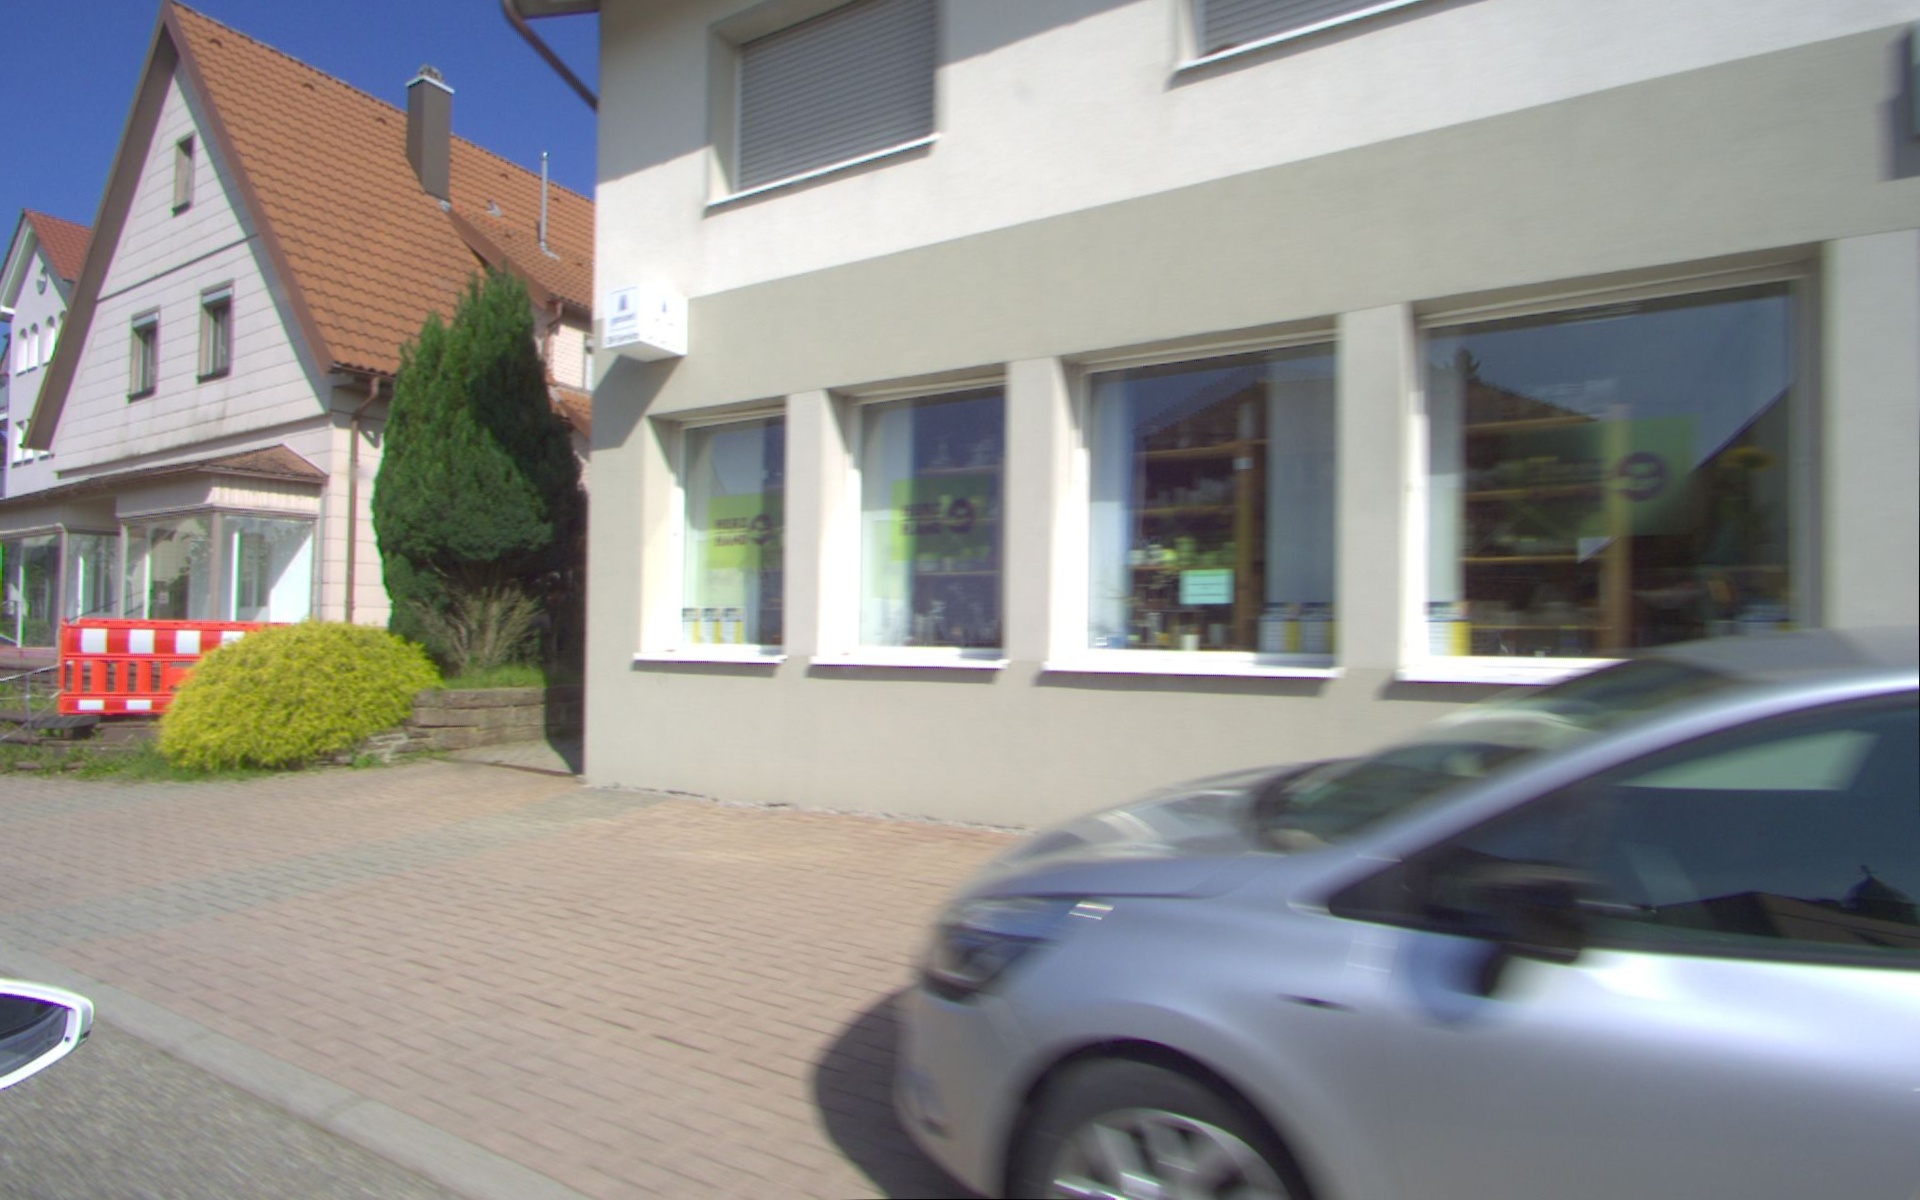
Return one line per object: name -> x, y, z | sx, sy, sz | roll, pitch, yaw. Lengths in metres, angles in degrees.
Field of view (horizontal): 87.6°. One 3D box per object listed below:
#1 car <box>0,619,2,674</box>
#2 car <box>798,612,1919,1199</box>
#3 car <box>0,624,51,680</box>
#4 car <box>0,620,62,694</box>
car -> -29.548, 1.328, 27.815 | 1.855, 1.568, 3.978 | -1, -1, 33
car -> 1.717, 0.753, 2.125 | 3.873, 1.438, 1.634 | -1, 0, 28
car -> -26.639, 1.409, 26.803 | 1.608, 1.488, 3.221 | 0, -1, 38
car -> -21.673, 1.197, 21.193 | 1.942, 1.578, 3.841 | -1, -2, 44
